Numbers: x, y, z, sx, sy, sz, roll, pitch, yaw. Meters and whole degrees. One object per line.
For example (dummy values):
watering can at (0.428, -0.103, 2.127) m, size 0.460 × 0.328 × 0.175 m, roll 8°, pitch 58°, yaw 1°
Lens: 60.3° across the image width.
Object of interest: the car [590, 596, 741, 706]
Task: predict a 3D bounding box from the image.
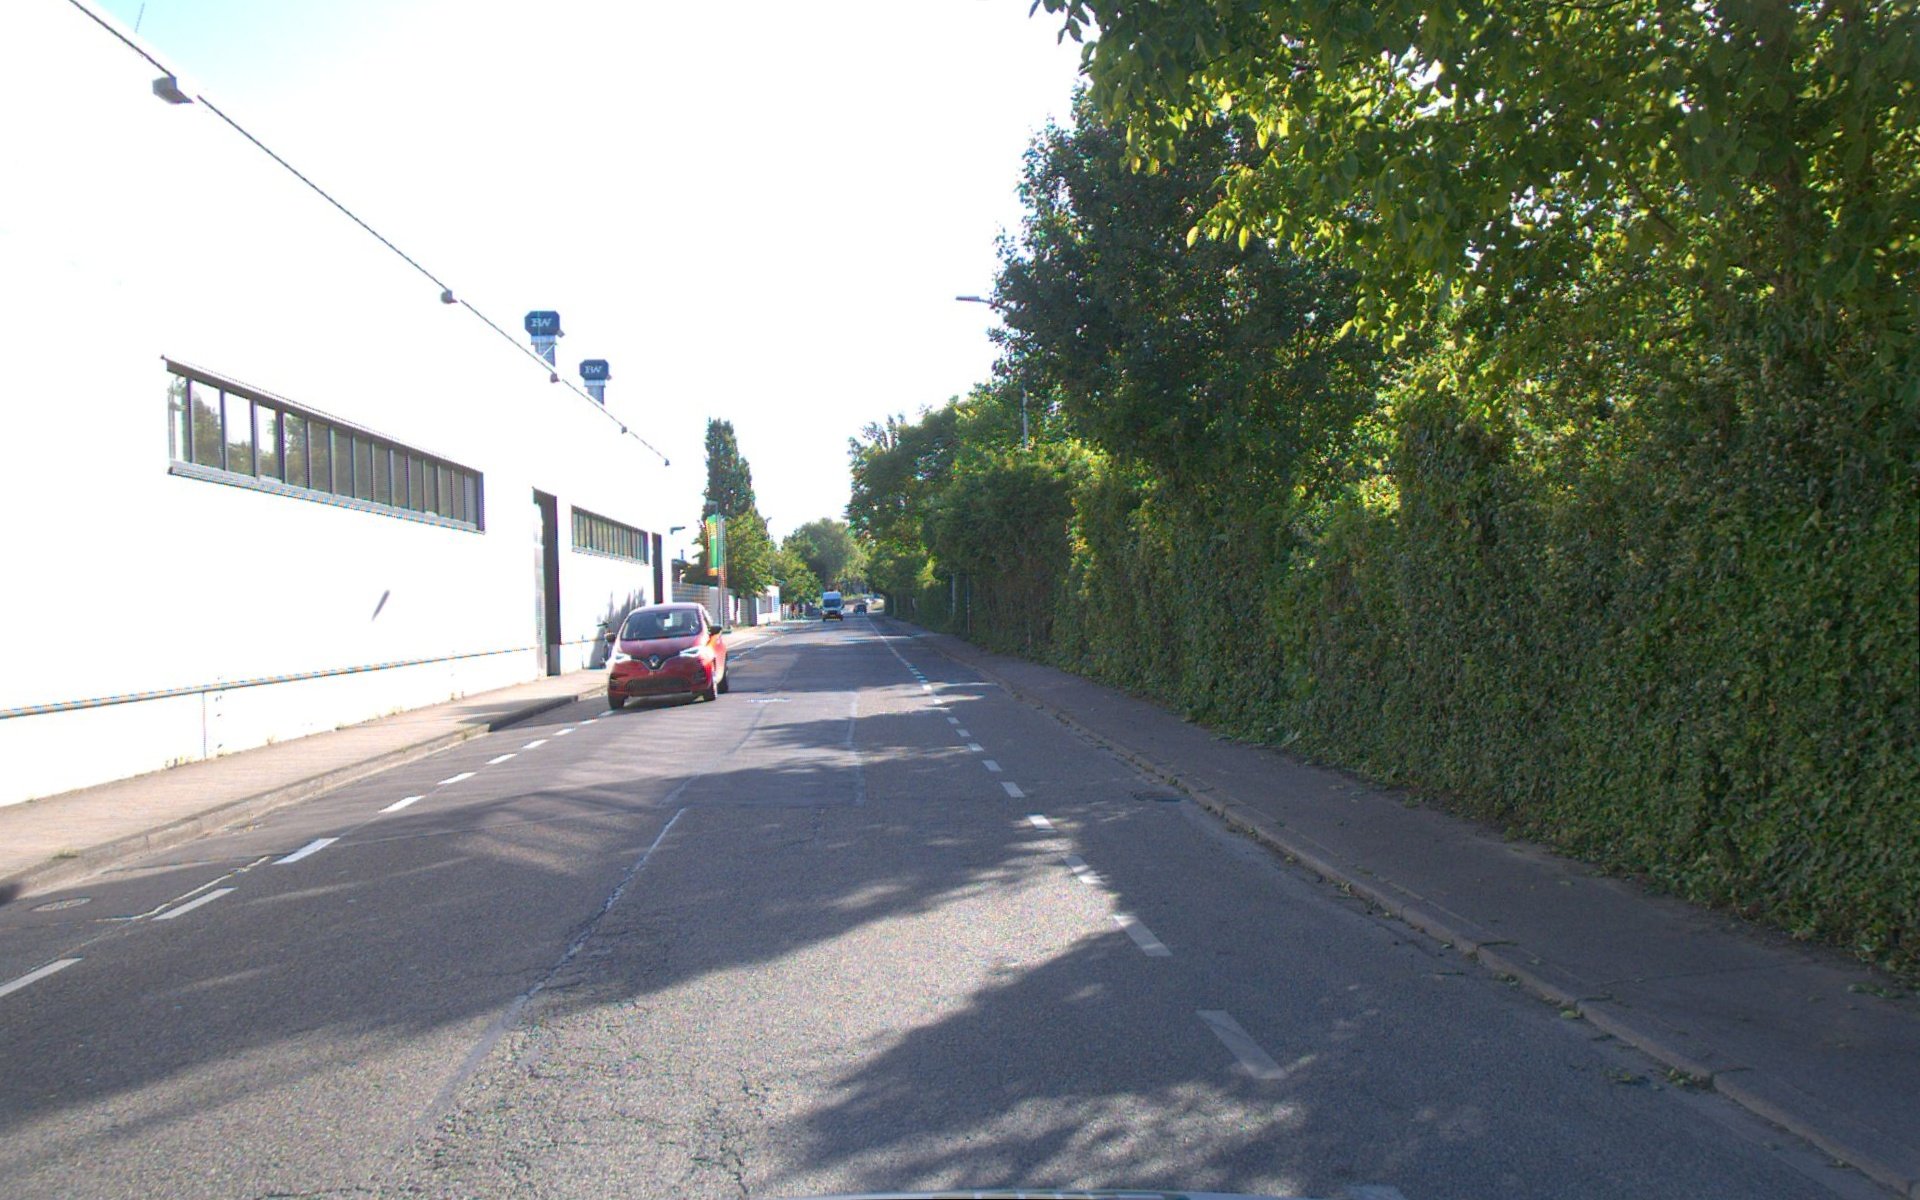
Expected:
car at (-4.803, 0.787, 27.476) m, size 1.782 × 1.514 × 3.998 m, roll -6°, pitch 0°, yaw -2°

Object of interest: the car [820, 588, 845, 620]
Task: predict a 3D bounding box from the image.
car at (-12.426, 0.407, 161.114) m, size 2.081 × 2.828 × 5.922 m, roll -4°, pitch 0°, yaw -3°

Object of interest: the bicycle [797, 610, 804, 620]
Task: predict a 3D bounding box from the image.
bicycle at (-17.057, 1.573, 177.224) m, size 0.675 × 1.052 × 1.350 m, roll 0°, pitch 0°, yaw -4°

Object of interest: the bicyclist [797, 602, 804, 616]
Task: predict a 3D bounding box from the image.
bicyclist at (-17.068, 0.953, 177.243) m, size 0.675 × 1.559 × 0.722 m, roll 0°, pitch 0°, yaw -4°

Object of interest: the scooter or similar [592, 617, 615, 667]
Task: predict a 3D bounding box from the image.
scooter or similar at (-9.528, 1.113, 44.222) m, size 0.408 × 1.289 × 1.059 m, roll -2°, pitch 0°, yaw -4°
